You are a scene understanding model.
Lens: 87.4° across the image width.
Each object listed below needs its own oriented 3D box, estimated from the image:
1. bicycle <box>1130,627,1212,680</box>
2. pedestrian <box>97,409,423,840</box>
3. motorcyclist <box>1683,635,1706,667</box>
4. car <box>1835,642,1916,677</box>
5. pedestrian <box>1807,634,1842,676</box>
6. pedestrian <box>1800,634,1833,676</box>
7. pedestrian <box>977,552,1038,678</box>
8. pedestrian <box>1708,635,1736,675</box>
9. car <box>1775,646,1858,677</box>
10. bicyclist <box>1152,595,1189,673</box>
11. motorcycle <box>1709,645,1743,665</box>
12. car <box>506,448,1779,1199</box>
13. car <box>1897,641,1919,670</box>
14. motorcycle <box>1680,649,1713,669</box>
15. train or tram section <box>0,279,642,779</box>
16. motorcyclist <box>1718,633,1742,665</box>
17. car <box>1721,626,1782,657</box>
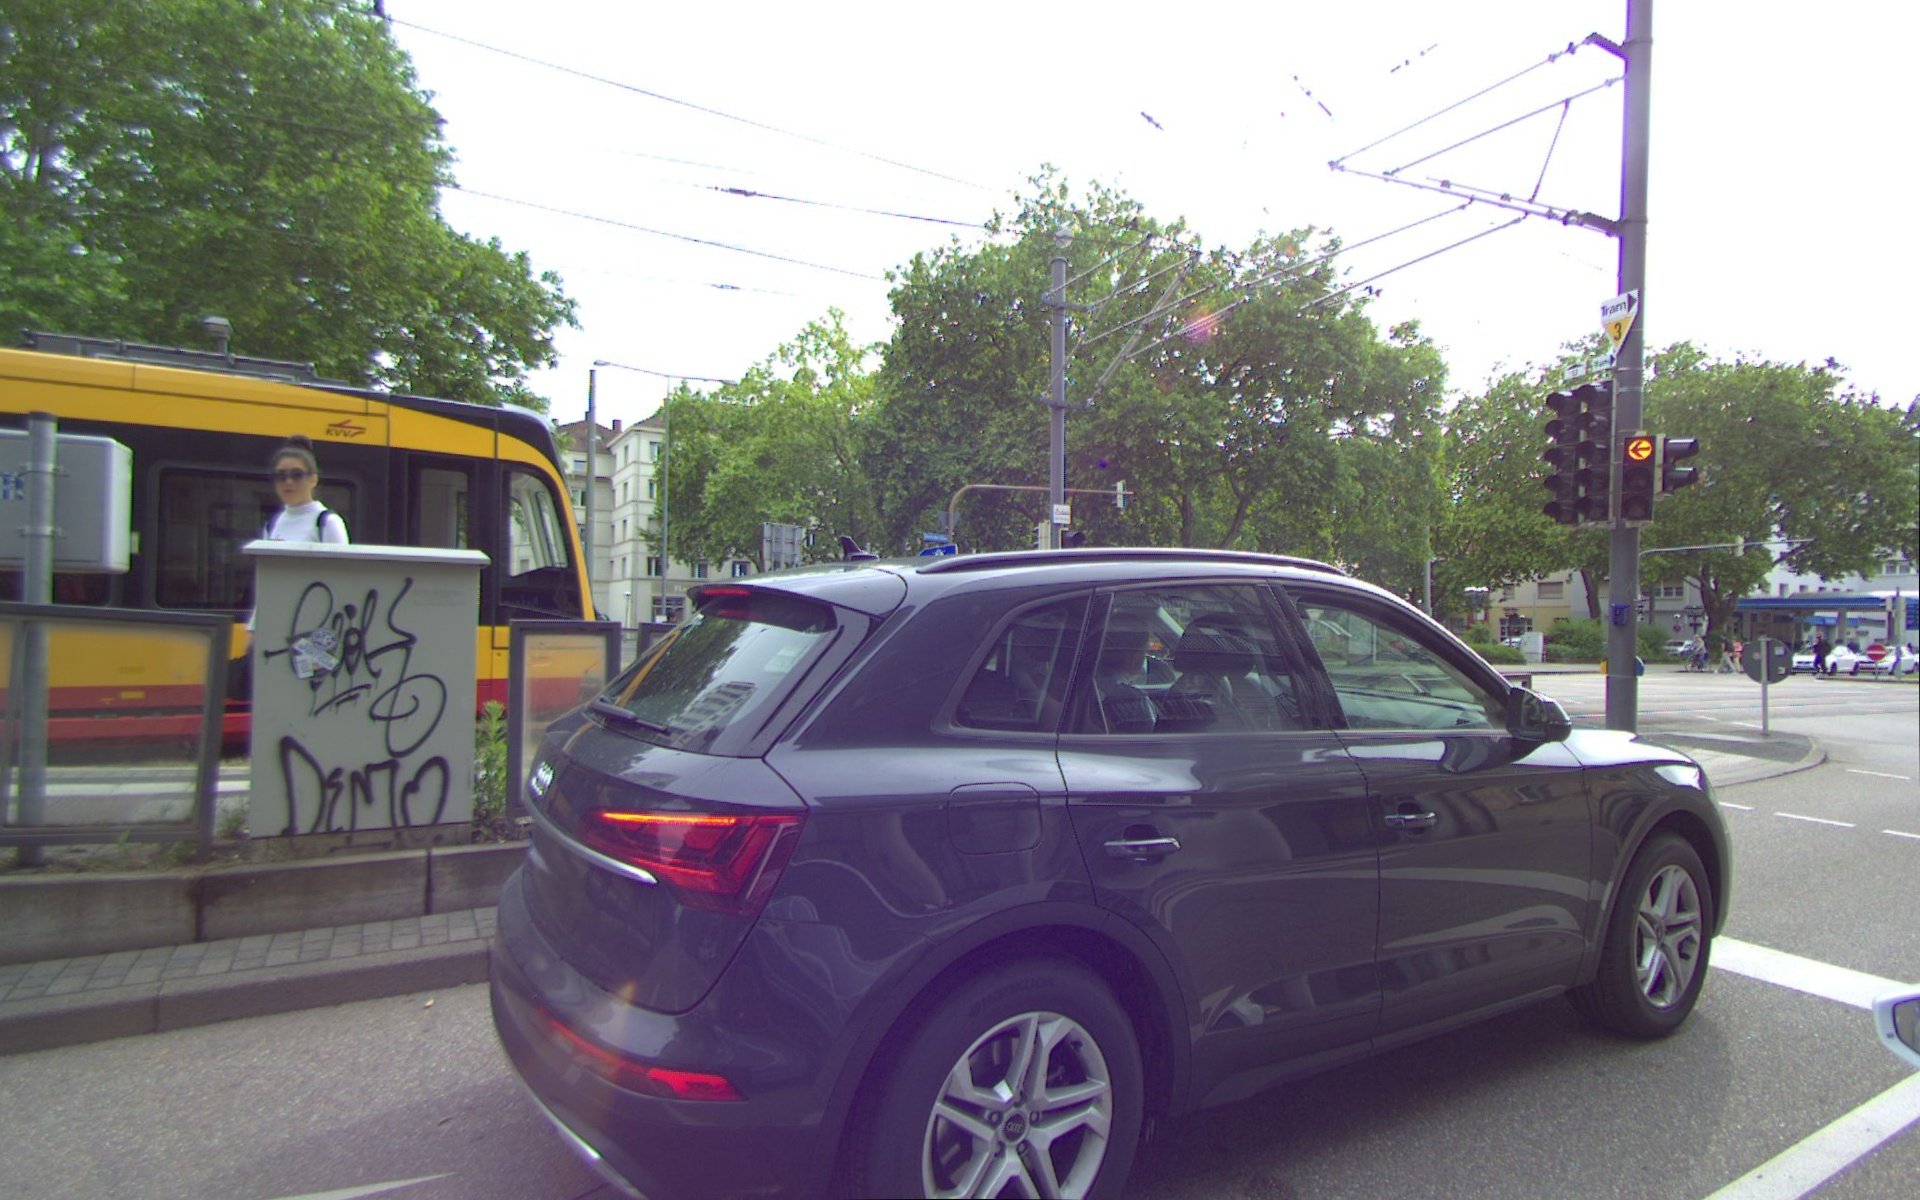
[{"bbox_3d":[5.618,1.407,26.752,1.962,1.289,0.749,2,0,31],"label":"bicycle"},{"bbox_3d":[-3.134,0.099,4.551,0.709,1.692,0.977,2,0,31],"label":"pedestrian"},{"bbox_3d":[35.802,2.482,48.939,0.863,1.540,0.617,2,-1,-30],"label":"motorcyclist"},{"bbox_3d":[46.976,3.024,51.514,3.953,1.615,1.984,2,0,-30],"label":"car"},{"bbox_3d":[36.488,2.316,42.391,0.864,1.735,0.868,2,-1,-28],"label":"pedestrian"},{"bbox_3d":[35.880,2.306,42.091,0.682,1.735,0.864,1,-1,-26],"label":"pedestrian"},{"bbox_3d":[0.764,0.243,16.277,0.658,1.976,0.732,2,0,-30],"label":"pedestrian"},{"bbox_3d":[33.482,2.402,44.127,0.732,1.713,0.681,2,0,-25],"label":"pedestrian"},{"bbox_3d":[41.162,2.938,48.262,4.025,1.338,1.739,2,0,-29],"label":"car"},{"bbox_3d":[5.612,0.894,26.811,0.682,2.040,0.781,2,0,32],"label":"bicyclist"},{"bbox_3d":[36.927,2.668,48.426,1.928,0.941,0.604,2,-1,-30],"label":"motorcycle"},{"bbox_3d":[0.823,0.632,3.453,4.177,1.658,1.725,2,0,-30],"label":"car"},{"bbox_3d":[52.780,3.037,54.596,3.593,1.497,1.649,2,0,-29],"label":"car"},{"bbox_3d":[35.942,2.861,49.021,1.928,0.941,0.604,2,-1,-30],"label":"motorcycle"},{"bbox_3d":[-10.508,-0.633,7.664,15.026,3.802,3.314,2,0,-31],"label":"train or tram section"},{"bbox_3d":[37.233,2.367,48.565,0.863,1.540,0.617,2,-1,-30],"label":"motorcyclist"},{"bbox_3d":[54.595,2.877,69.271,3.953,2.040,1.984,2,-1,-30],"label":"car"}]
